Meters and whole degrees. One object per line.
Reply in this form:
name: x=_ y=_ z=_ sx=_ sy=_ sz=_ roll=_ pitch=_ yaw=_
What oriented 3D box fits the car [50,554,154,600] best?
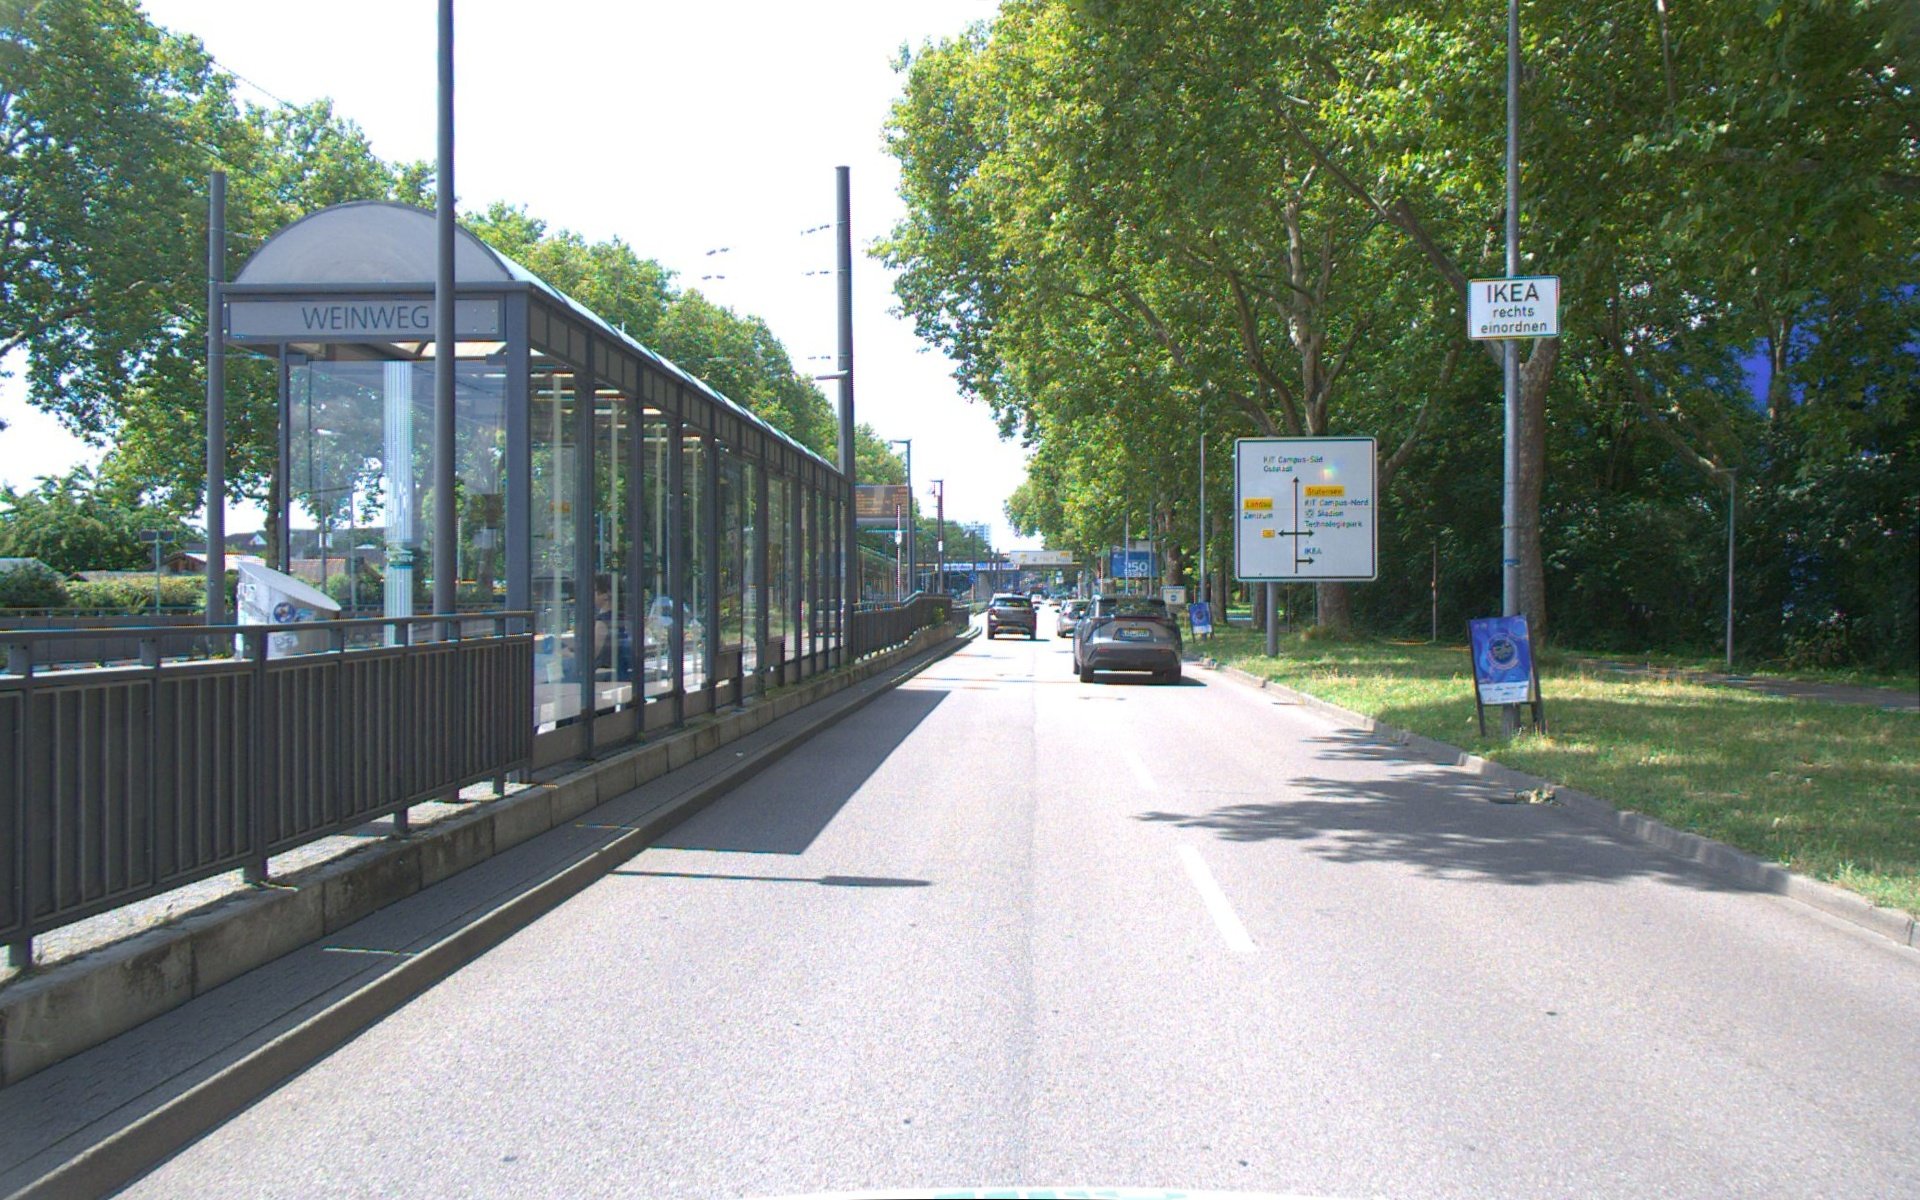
car: x=-32.963 y=-0.923 z=63.628 sx=1.864 sy=1.691 sz=3.929 roll=1 pitch=1 yaw=2

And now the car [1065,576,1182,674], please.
car: x=3.018 y=0.440 z=31.307 sx=1.858 sy=1.704 sz=4.520 roll=0 pitch=0 yaw=1

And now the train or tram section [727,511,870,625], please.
train or tram section: x=-4.971 y=-0.944 z=53.990 sx=2.974 sy=3.242 sz=14.103 roll=0 pitch=0 yaw=1

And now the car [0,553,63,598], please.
car: x=-36.990 y=-0.981 z=64.436 sx=1.864 sy=1.691 sz=3.929 roll=1 pitch=1 yaw=2

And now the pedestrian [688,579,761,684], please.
pedestrian: x=-2.792 y=0.368 z=19.673 sx=0.770 sy=1.230 sz=0.699 roll=0 pitch=0 yaw=0

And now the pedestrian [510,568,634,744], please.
pedestrian: x=-2.765 y=0.386 z=11.838 sx=0.679 sy=1.211 sz=0.642 roll=1 pitch=0 yaw=3

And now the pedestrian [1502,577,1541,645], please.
pedestrian: x=17.191 y=0.335 z=50.655 sx=0.819 sy=2.049 sz=0.957 roll=2 pitch=0 yaw=1

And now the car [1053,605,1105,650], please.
car: x=4.630 y=1.047 z=64.790 sx=1.794 sy=1.658 sz=4.297 roll=0 pitch=0 yaw=1

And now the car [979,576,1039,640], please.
car: x=1.807 y=0.240 z=59.266 sx=1.952 sy=2.023 sz=4.366 roll=2 pitch=3 yaw=3

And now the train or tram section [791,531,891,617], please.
train or tram section: x=-4.697 y=-1.020 z=67.166 sx=2.974 sy=3.242 sz=9.450 roll=0 pitch=0 yaw=2

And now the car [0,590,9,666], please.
car: x=-21.595 y=0.646 z=33.975 sx=1.673 sy=1.612 sz=4.002 roll=1 pitch=2 yaw=2
